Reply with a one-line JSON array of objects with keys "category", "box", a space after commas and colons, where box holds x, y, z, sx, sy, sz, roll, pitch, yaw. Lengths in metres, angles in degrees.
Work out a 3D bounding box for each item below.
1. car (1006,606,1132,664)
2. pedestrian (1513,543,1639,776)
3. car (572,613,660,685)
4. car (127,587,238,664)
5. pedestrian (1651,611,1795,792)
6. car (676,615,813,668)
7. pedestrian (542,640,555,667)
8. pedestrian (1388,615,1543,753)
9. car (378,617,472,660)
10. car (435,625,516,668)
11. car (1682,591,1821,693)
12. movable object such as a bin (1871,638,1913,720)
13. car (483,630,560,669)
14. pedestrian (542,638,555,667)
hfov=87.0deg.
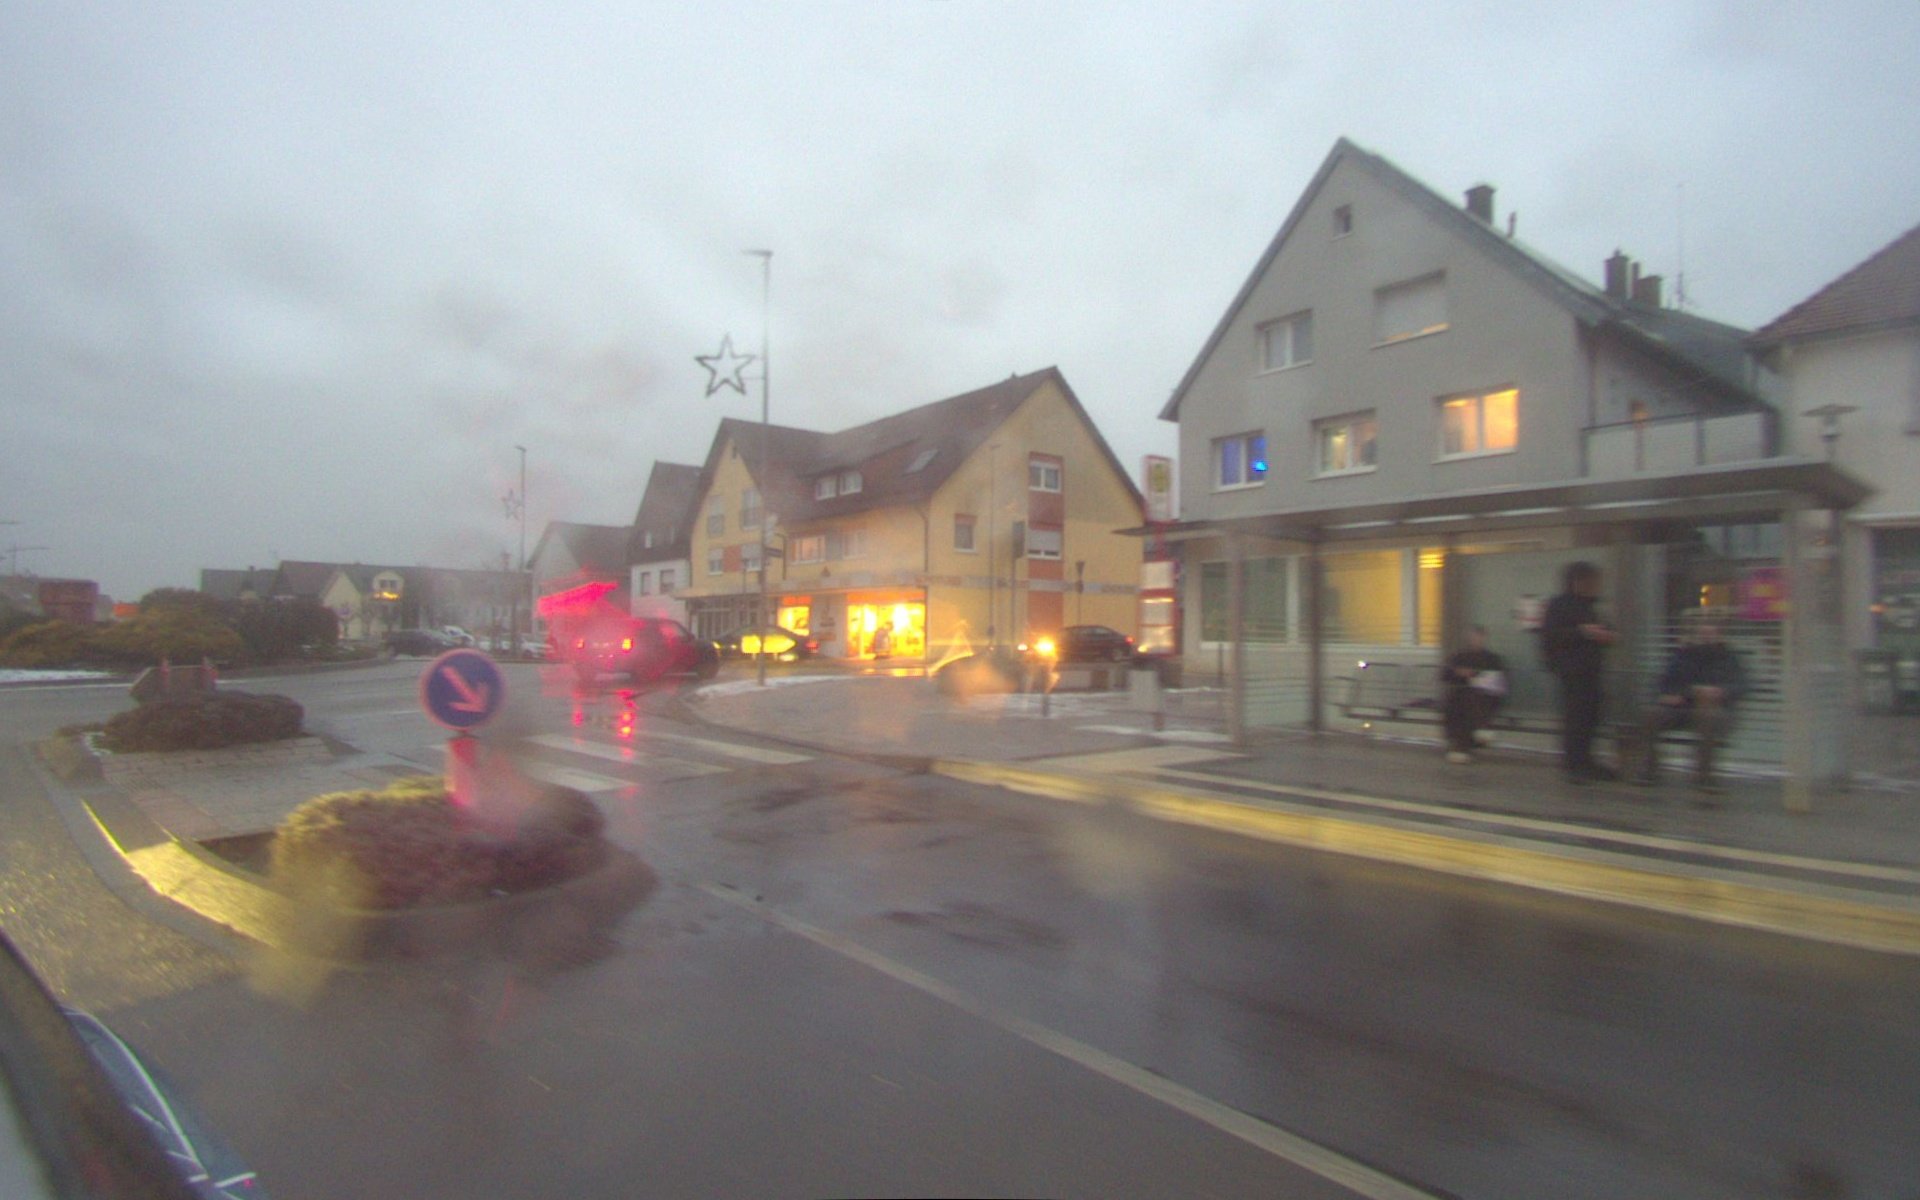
[{"category": "car", "box": [4.092, 1.258, 37.885, 4.389, 2.029, 2.006, 0, 1, -32]}, {"category": "pedestrian", "box": [4.957, 0.459, 8.142, 0.687, 1.755, 0.740, -3, -2, 42]}, {"category": "car", "box": [-7.861, 1.063, 23.385, 1.678, 1.515, 3.909, 0, -1, -15]}, {"category": "car", "box": [-21.997, 0.643, 28.805, 2.024, 2.002, 4.551, 0, 1, -31]}, {"category": "pedestrian", "box": [5.828, 0.741, 7.734, 0.677, 1.281, 0.751, 0, -2, -44]}, {"category": "car", "box": [-7.139, 1.344, 33.526, 4.300, 1.617, 1.894, 0, 1, -14]}, {"category": "pedestrian", "box": [-24.949, 3.233, 61.396, 0.574, 1.623, 0.500, 0, 1, -44]}, {"category": "pedestrian", "box": [4.625, 0.744, 9.273, 0.976, 1.167, 0.903, 0, -3, -39]}, {"category": "car", "box": [-27.087, 1.901, 51.253, 3.963, 2.010, 1.962, 1, 0, 15]}, {"category": "car", "box": [-25.639, 2.437, 53.538, 3.954, 2.029, 1.908, 1, 1, 28]}, {"category": "car", "box": [15.795, 0.817, 20.154, 3.373, 1.867, 1.516, 2, -2, -40]}, {"category": "movable object such as a bin", "box": [14.323, 1.200, 15.553, 0.284, 1.219, 0.454, 0, 1, -43]}, {"category": "car", "box": [-24.149, 2.703, 55.731, 3.854, 1.895, 1.917, 1, 1, 28]}, {"category": "pedestrian", "box": [-24.283, 3.093, 59.767, 0.574, 1.623, 0.500, 0, 1, -44]}]
